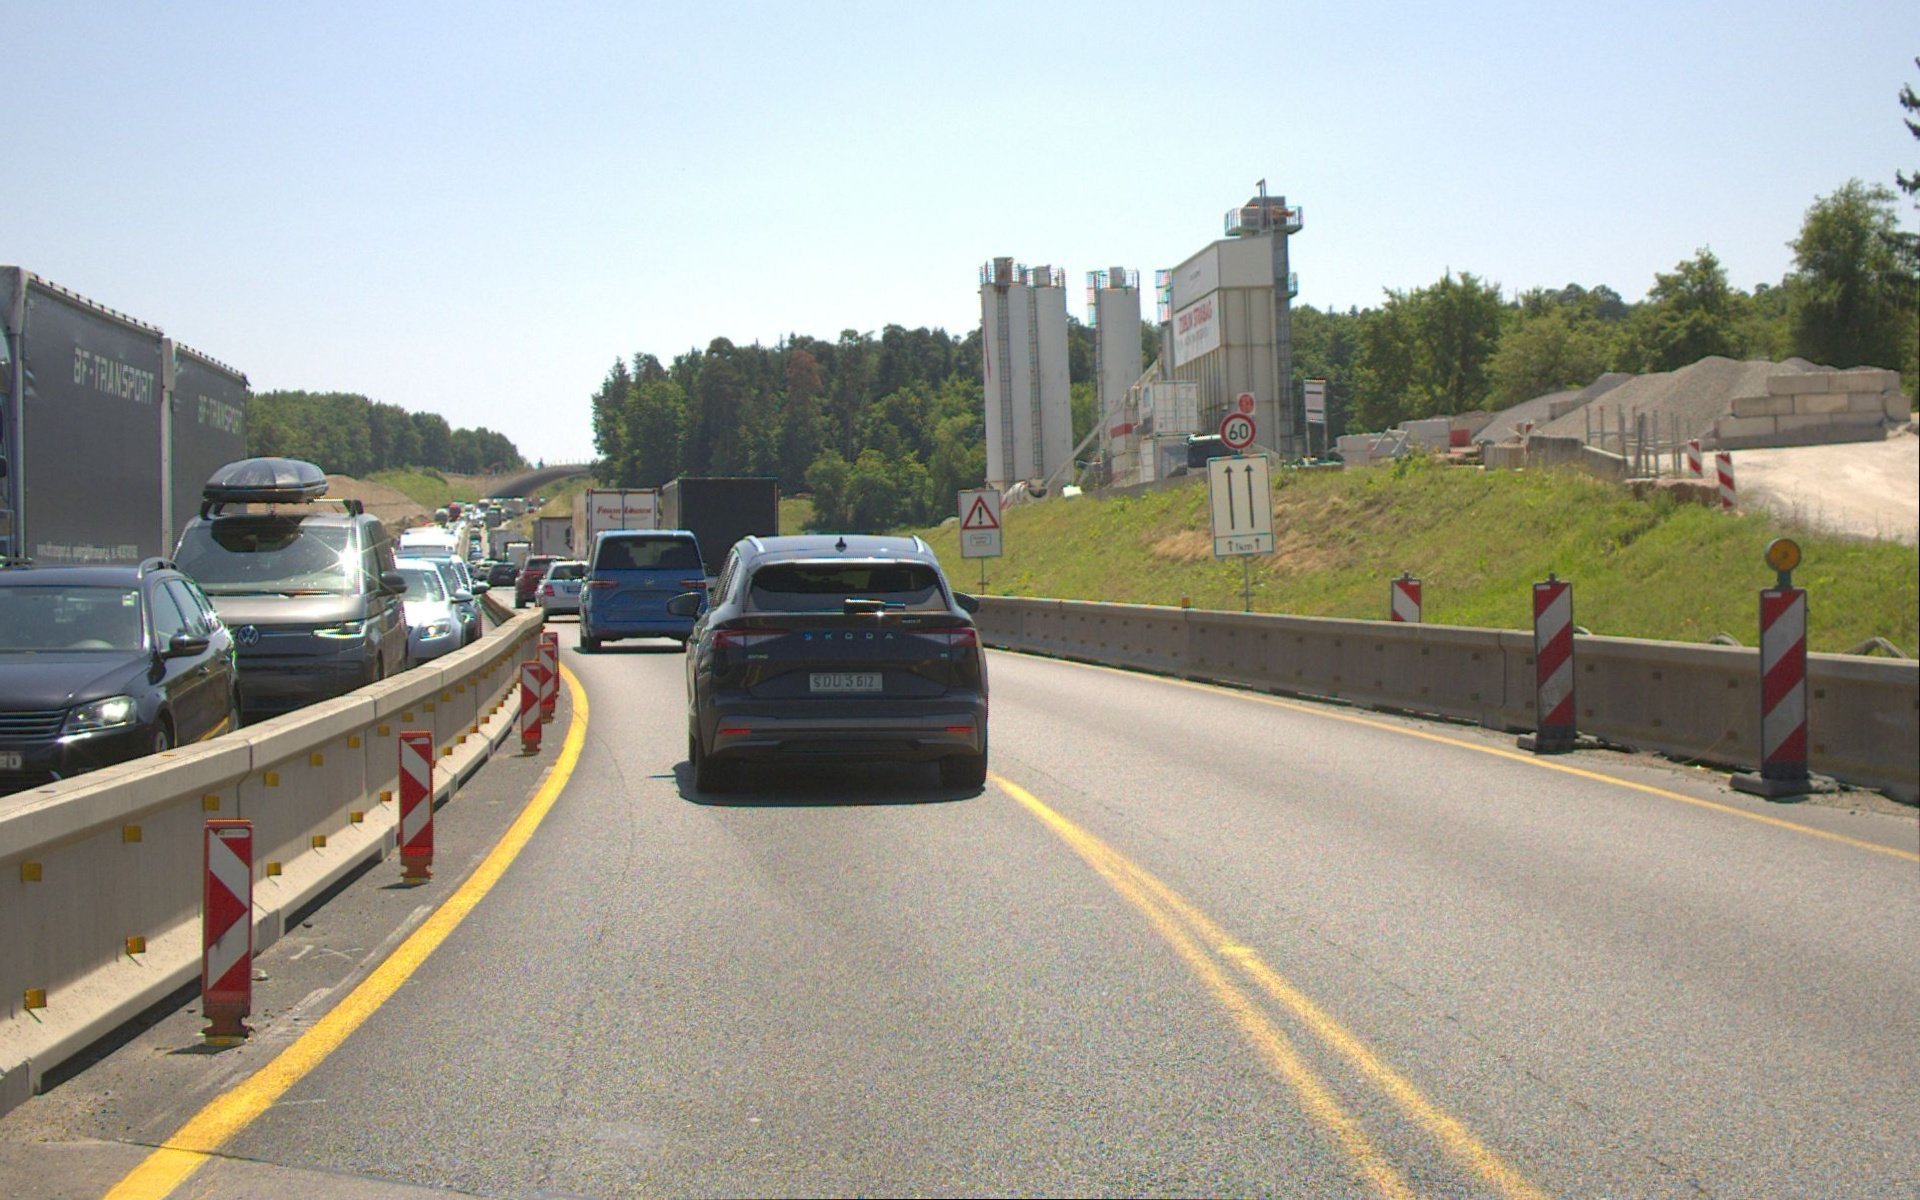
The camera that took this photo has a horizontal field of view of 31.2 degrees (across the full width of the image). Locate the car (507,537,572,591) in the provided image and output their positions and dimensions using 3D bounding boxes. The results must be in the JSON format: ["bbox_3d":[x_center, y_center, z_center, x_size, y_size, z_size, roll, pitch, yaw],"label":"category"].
[{"bbox_3d":[-13.152,-1.128,107.335,1.820,1.638,3.866,-1,1,-10],"label":"car"}]

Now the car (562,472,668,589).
[{"bbox_3d":[-12.897,-2.591,127.955,3.435,4.087,9.199,2,1,-8],"label":"car"}]

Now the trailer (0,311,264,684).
[{"bbox_3d":[-10.507,-1.211,42.427,2.736,4.123,8.187,-1,1,-5],"label":"trailer"}]

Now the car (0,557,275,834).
[{"bbox_3d":[-5.380,0.481,20.556,1.735,1.441,4.797,-1,1,-2],"label":"car"}]

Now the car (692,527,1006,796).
[{"bbox_3d":[-0.811,0.331,22.446,1.842,1.576,4.001,-1,1,-5],"label":"car"}]

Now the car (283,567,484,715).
[{"bbox_3d":[-6.363,0.411,38.324,1.993,1.525,4.060,-1,1,-7],"label":"car"}]

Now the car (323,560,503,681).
[{"bbox_3d":[-7.513,0.237,47.657,2.045,1.521,5.067,-1,1,-5],"label":"car"}]

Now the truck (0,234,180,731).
[{"bbox_3d":[-9.714,-1.043,32.930,2.772,4.123,10.872,-1,1,-5],"label":"truck"}]

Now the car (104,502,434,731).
[{"bbox_3d":[-5.792,0.084,29.436,2.045,1.771,5.067,-1,1,-3],"label":"car"}]

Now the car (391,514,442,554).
[{"bbox_3d":[-18.271,-2.214,115.662,1.617,1.319,3.696,-1,1,-9],"label":"car"}]

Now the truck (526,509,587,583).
[{"bbox_3d":[-23.754,-3.187,201.953,3.474,4.206,10.379,0,1,-7],"label":"truck"}]

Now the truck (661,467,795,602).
[{"bbox_3d":[-5.495,-1.536,80.682,2.672,2.935,5.622,-3,1,-7],"label":"truck"}]

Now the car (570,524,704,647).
[{"bbox_3d":[-5.131,-0.270,54.265,1.993,1.837,4.001,-1,1,-6],"label":"car"}]

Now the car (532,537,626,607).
[{"bbox_3d":[-9.113,-0.701,81.983,2.045,1.521,5.067,-3,1,-7],"label":"car"}]

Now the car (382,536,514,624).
[{"bbox_3d":[-9.450,-0.395,63.759,2.045,1.521,5.067,-1,1,-5],"label":"car"}]
